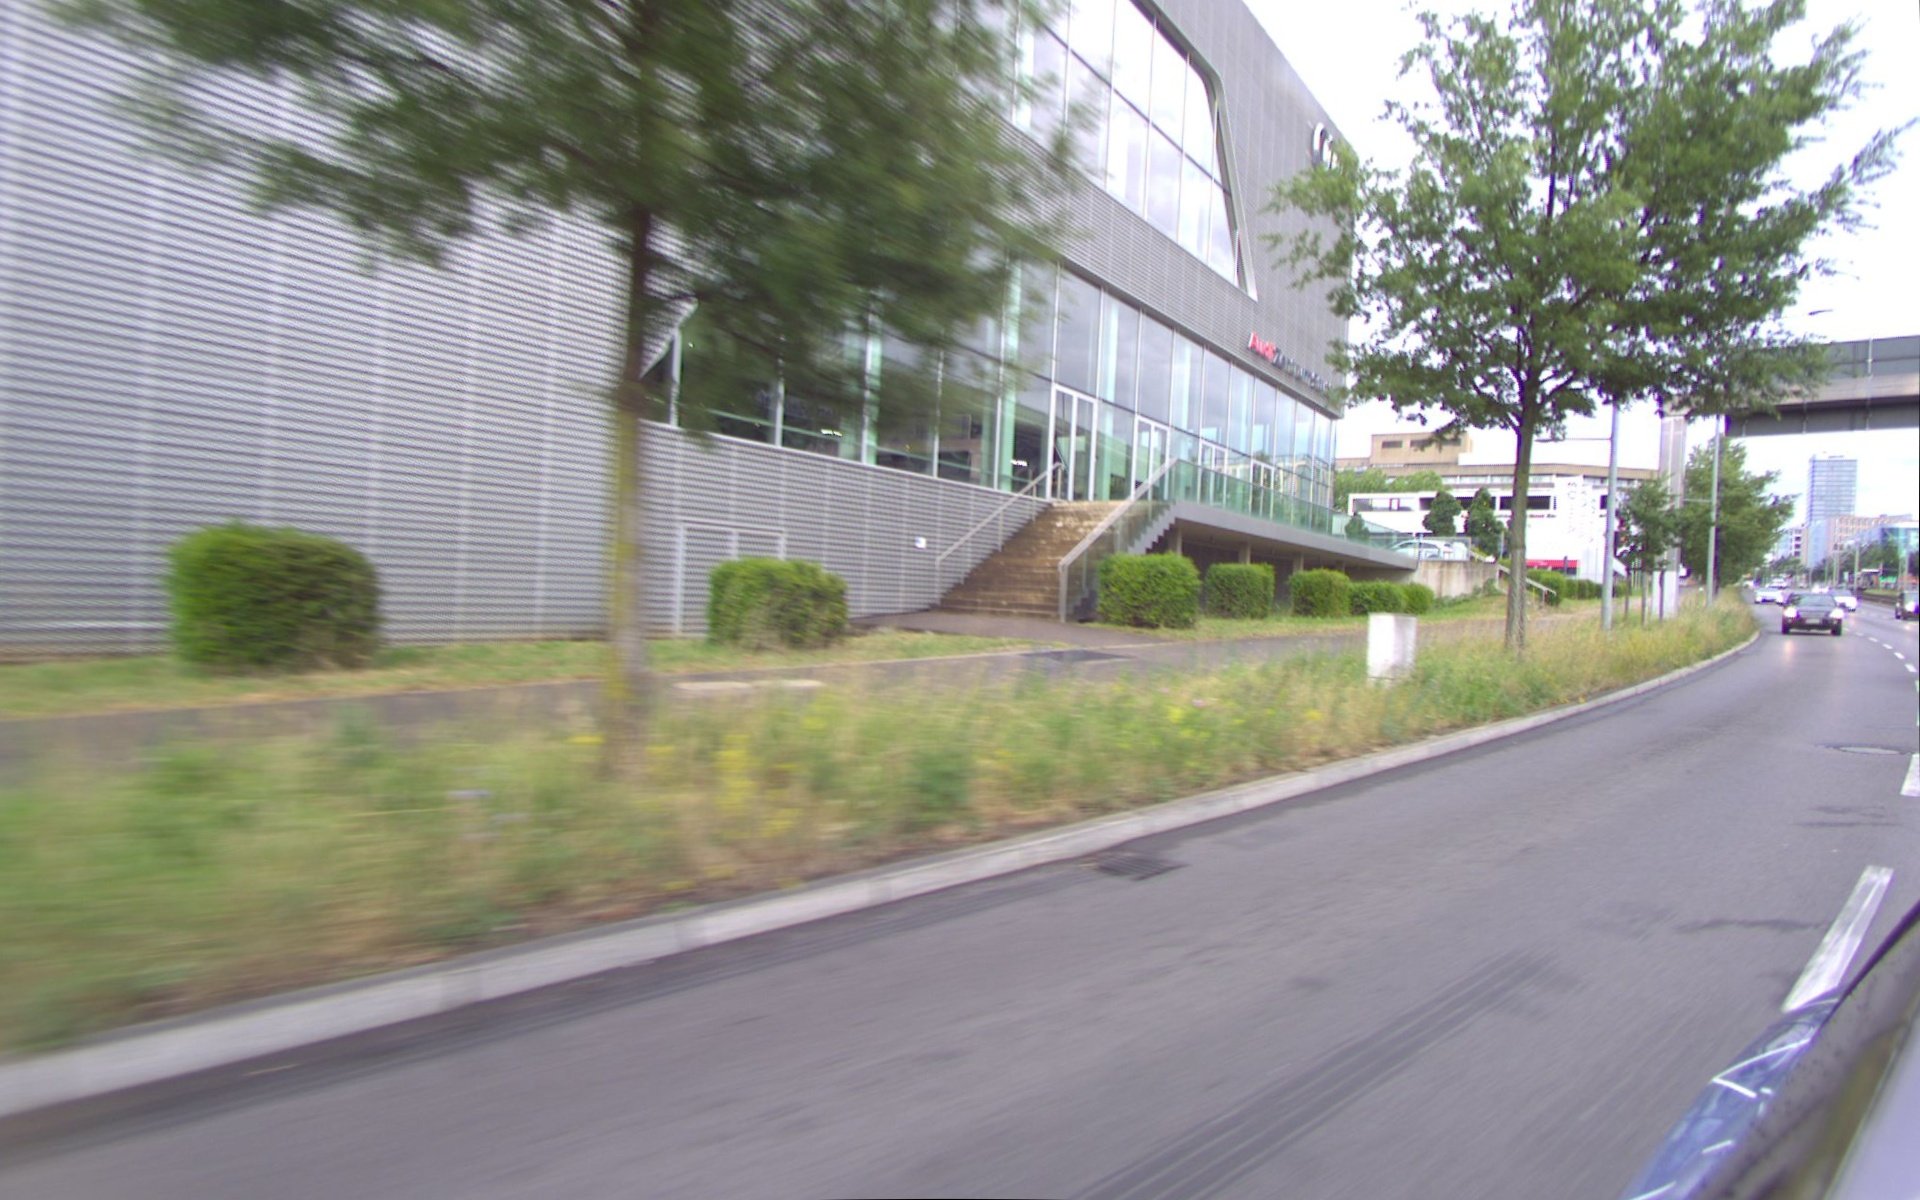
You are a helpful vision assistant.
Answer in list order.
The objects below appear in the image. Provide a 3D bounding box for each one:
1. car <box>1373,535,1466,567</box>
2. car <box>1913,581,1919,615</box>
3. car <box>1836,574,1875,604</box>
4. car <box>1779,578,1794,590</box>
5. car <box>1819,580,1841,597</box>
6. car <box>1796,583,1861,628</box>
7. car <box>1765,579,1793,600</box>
[{"bbox_3d":[24.402,-2.572,53.770,4.250,1.594,1.670,1,1,38],"label":"car"},{"bbox_3d":[54.283,-0.083,56.145,1.854,1.833,4.053,1,0,40],"label":"car"},{"bbox_3d":[63.824,-0.802,72.171,1.992,2.038,3.942,0,2,41],"label":"car"},{"bbox_3d":[140.433,-2.758,171.937,1.990,1.871,3.944,0,2,39],"label":"car"},{"bbox_3d":[109.564,-1.452,127.510,1.990,2.038,3.945,0,2,39],"label":"car"},{"bbox_3d":[33.735,0.202,39.336,1.822,1.629,4.053,1,0,41],"label":"car"},{"bbox_3d":[74.241,-0.929,91.703,1.854,1.833,4.053,1,0,40],"label":"car"}]
